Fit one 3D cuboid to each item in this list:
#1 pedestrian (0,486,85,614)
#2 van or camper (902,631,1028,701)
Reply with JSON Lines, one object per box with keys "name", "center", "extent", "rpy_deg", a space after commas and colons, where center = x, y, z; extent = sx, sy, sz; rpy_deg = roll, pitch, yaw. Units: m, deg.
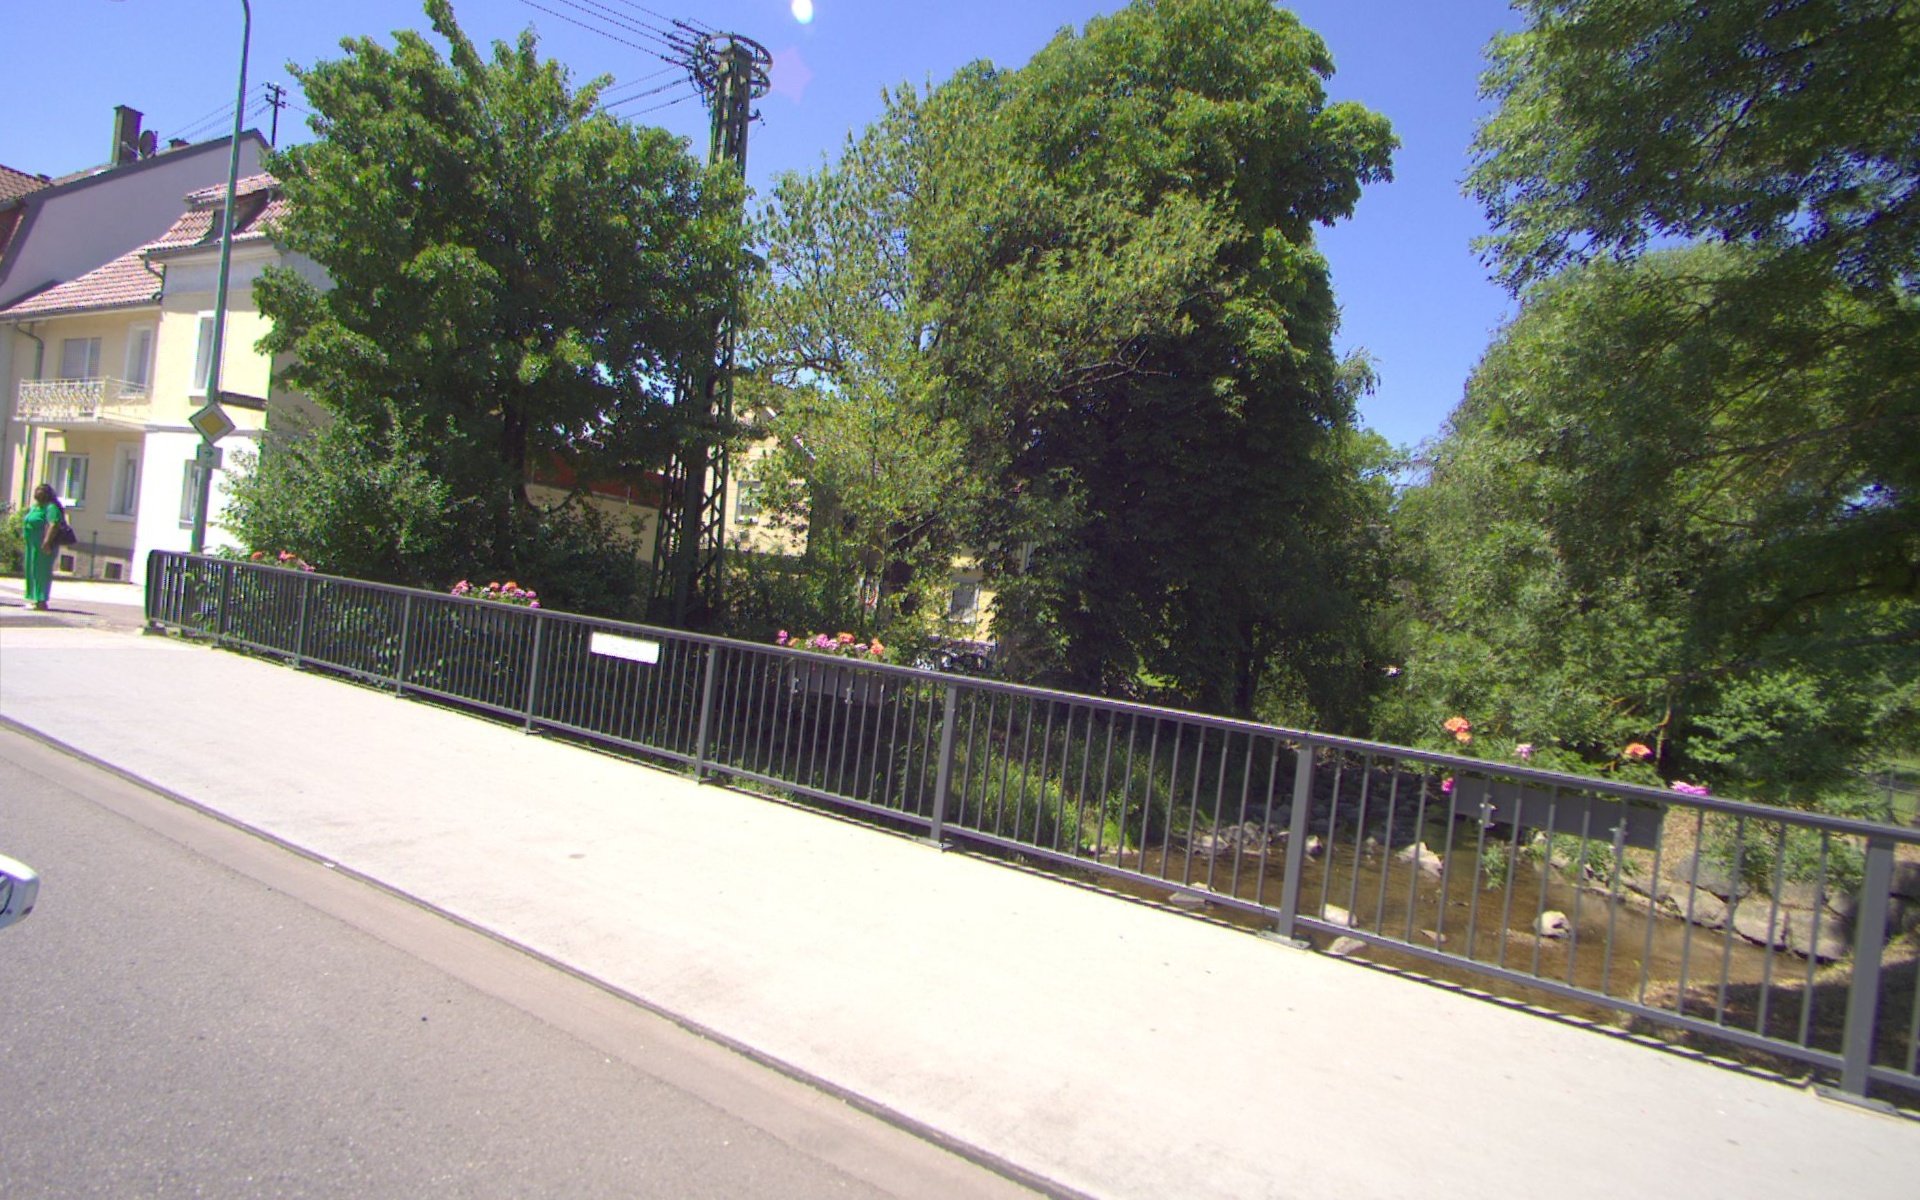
{"name": "pedestrian", "center": [-13.058, -0.709, 14.314], "extent": [0.789, 1.730, 0.520], "rpy_deg": [6, 4, 11]}
{"name": "van or camper", "center": [0.206, 1.911, 28.710], "extent": [1.651, 1.592, 3.525], "rpy_deg": [6, -2, 38]}
